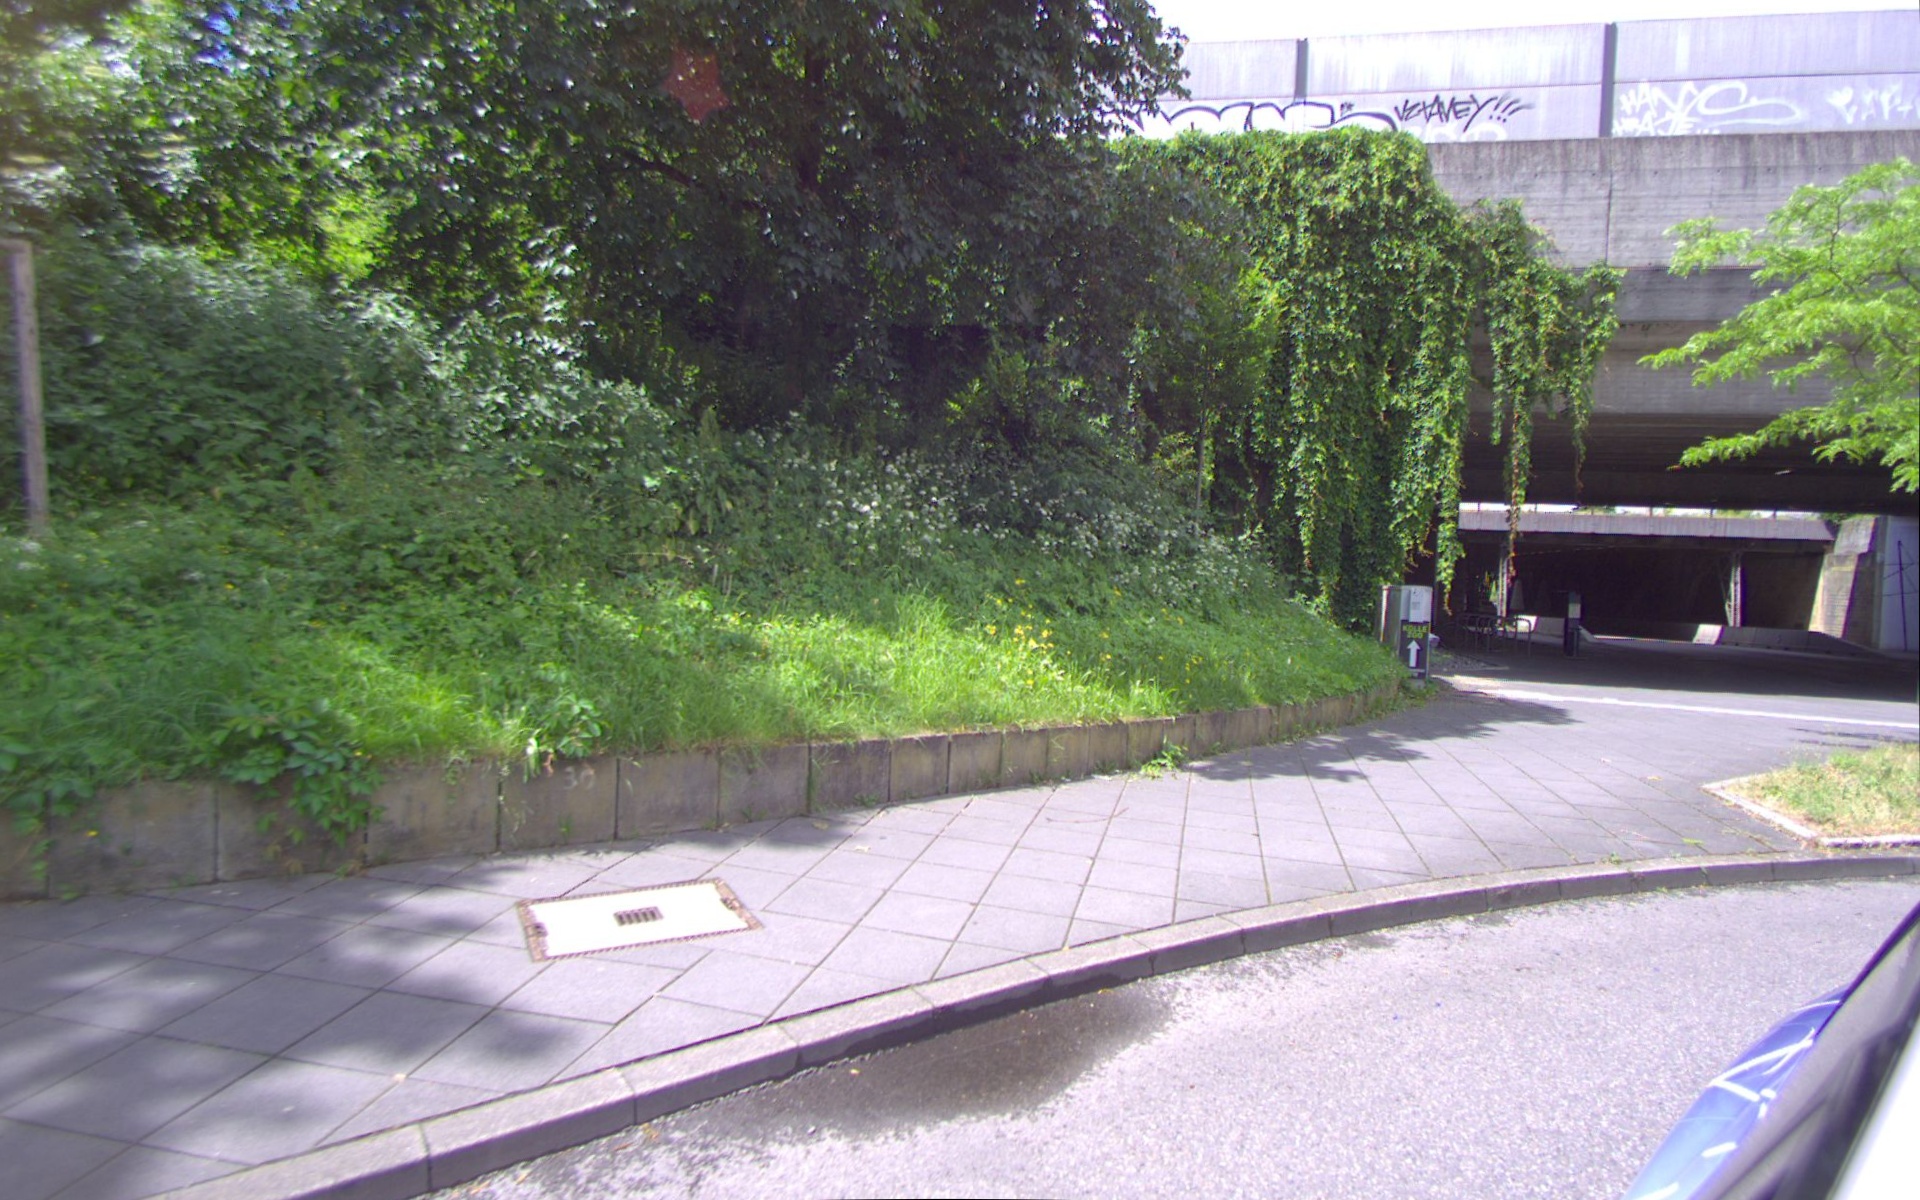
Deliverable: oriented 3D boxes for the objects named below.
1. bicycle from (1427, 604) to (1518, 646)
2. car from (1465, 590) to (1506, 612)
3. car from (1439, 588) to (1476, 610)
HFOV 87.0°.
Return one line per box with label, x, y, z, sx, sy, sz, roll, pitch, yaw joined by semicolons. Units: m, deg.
bicycle;12.891;0.614;25.510;1.923;0.915;0.505;3;2;14
car;38.714;0.049;74.655;1.652;1.465;3.838;3;2;13
car;41.905;-0.085;85.274;1.804;1.674;4.197;3;2;13
